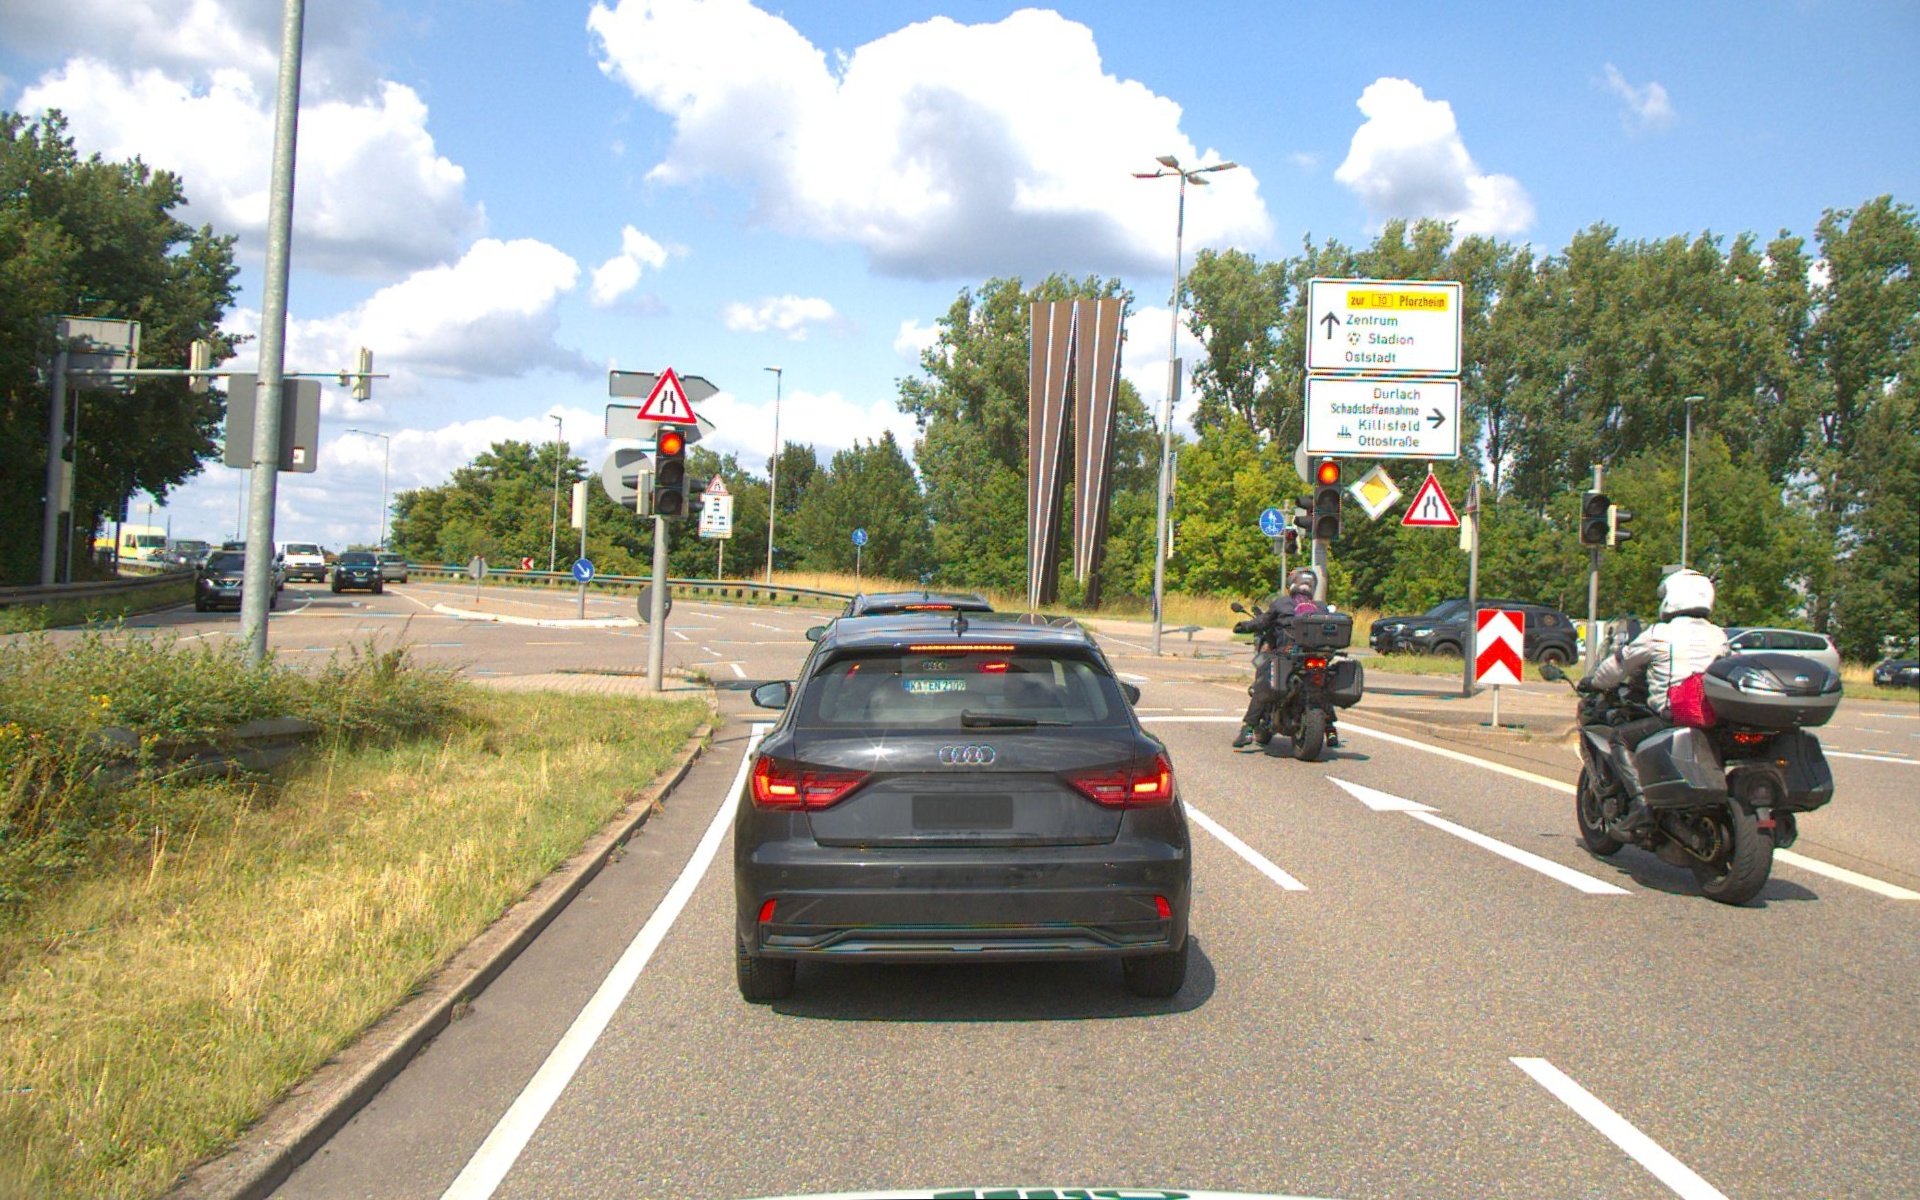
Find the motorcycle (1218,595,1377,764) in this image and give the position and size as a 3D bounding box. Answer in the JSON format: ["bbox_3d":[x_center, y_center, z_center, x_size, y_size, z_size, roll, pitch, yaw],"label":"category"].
[{"bbox_3d":[3.063,0.674,15.289,0.918,1.407,2.369,2,0,-1],"label":"motorcycle"}]

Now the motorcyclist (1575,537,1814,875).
[{"bbox_3d":[3.975,0.545,9.021,0.848,1.730,0.894,2,0,-1],"label":"motorcyclist"}]

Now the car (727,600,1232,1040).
[{"bbox_3d":[0.039,0.733,7.537,1.691,1.429,3.999,0,1,-1],"label":"car"}]

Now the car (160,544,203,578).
[{"bbox_3d":[-42.134,-2.088,89.505,1.823,1.735,4.286,2,0,-29],"label":"car"}]

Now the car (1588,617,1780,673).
[{"bbox_3d":[19.339,1.198,44.287,4.404,1.304,1.736,2,0,-4],"label":"car"}]

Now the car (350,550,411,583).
[{"bbox_3d":[-29.052,-1.680,82.867,1.975,1.522,4.072,2,0,-33],"label":"car"}]

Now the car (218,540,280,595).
[{"bbox_3d":[-25.370,-1.145,59.105,1.817,1.833,4.299,2,0,-22],"label":"car"}]

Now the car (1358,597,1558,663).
[{"bbox_3d":[13.173,0.782,43.931,4.750,1.572,1.736,2,0,-2],"label":"car"}]

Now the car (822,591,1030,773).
[{"bbox_3d":[-0.434,0.649,15.330,1.692,1.448,3.841,0,1,-5],"label":"car"}]

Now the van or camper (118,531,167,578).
[{"bbox_3d":[-50.369,-2.790,101.849,1.974,2.730,6.788,2,0,-32],"label":"van or camper"}]

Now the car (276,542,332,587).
[{"bbox_3d":[-31.941,-1.724,80.480,1.972,2.049,4.427,2,0,-29],"label":"car"}]

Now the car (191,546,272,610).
[{"bbox_3d":[-19.883,-0.562,45.265,1.813,1.646,3.974,2,-1,-21],"label":"car"}]

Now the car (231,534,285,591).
[{"bbox_3d":[-28.215,-1.493,66.406,1.819,2.137,4.293,2,0,-24],"label":"car"}]

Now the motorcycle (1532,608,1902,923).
[{"bbox_3d":[3.966,0.787,8.956,0.848,1.413,2.370,2,1,-1],"label":"motorcycle"}]

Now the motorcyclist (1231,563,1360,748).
[{"bbox_3d":[3.074,0.489,15.245,0.918,1.618,1.083,2,0,-1],"label":"motorcyclist"}]

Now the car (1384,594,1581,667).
[{"bbox_3d":[12.608,0.724,40.070,4.182,1.572,1.736,2,0,-2],"label":"car"}]

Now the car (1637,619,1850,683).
[{"bbox_3d":[19.070,1.232,40.348,4.384,1.343,1.735,2,0,-4],"label":"car"}]

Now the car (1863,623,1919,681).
[{"bbox_3d":[27.049,1.459,44.919,4.141,1.502,1.736,2,0,-4],"label":"car"}]

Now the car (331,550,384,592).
[{"bbox_3d":[-23.552,-1.141,64.595,1.708,1.522,4.018,2,0,-23],"label":"car"}]
